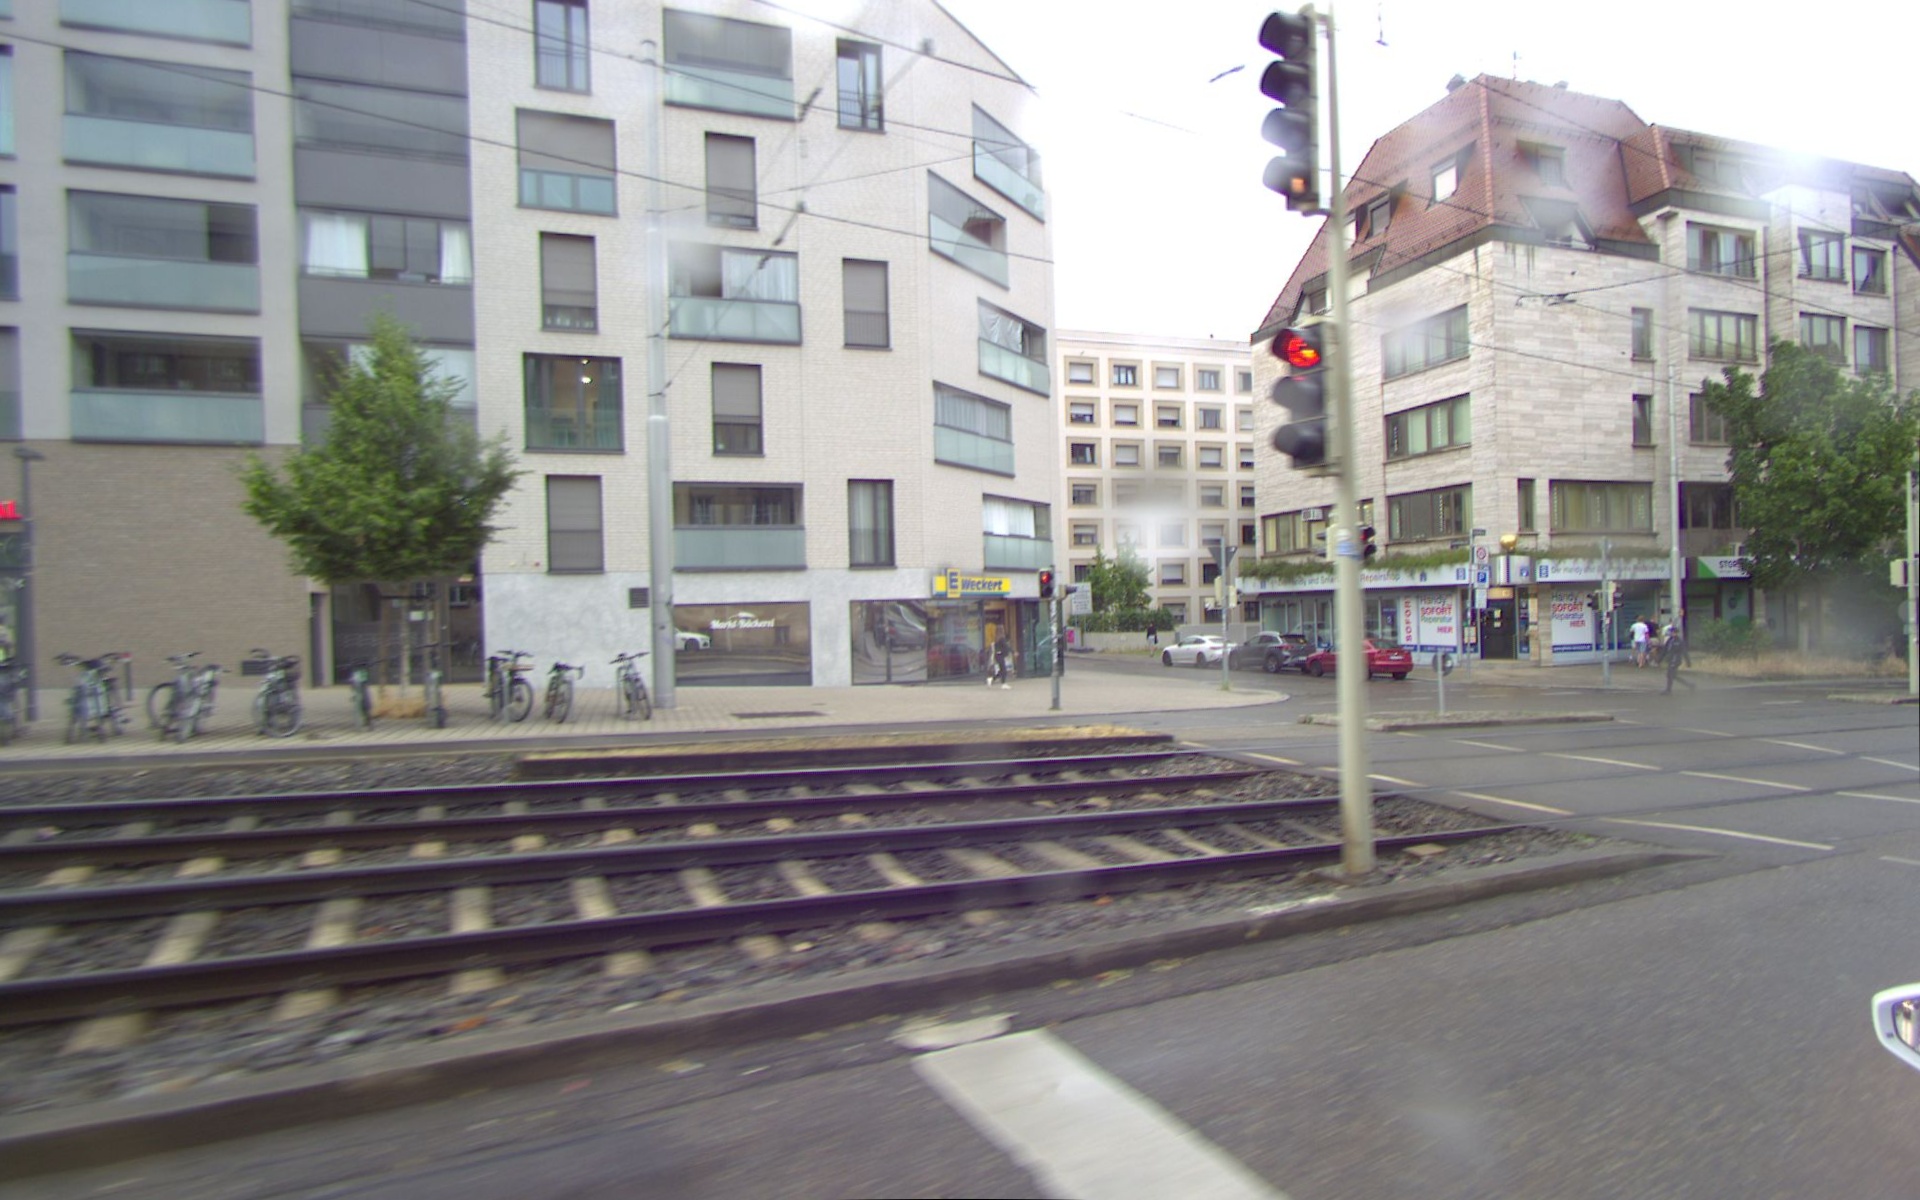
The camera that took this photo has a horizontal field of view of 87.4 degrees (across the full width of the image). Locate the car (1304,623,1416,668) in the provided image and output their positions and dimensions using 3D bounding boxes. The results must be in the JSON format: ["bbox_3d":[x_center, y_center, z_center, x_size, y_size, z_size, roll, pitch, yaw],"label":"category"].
[{"bbox_3d":[13.891,1.554,35.093,1.569,1.335,3.689,3,0,-19],"label":"car"}]

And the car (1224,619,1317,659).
[{"bbox_3d":[12.216,1.515,39.743,1.569,1.335,3.689,3,0,-19],"label":"car"}]

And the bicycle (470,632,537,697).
[{"bbox_3d":[-7.648,1.055,16.783,1.765,0.930,0.385,3,1,44],"label":"bicycle"}]

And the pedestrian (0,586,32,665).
[{"bbox_3d":[-18.608,0.482,19.409,0.790,1.468,0.539,3,2,-17],"label":"pedestrian"}]

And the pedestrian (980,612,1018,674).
[{"bbox_3d":[1.031,1.121,26.605,0.637,1.590,0.775,2,1,33],"label":"pedestrian"}]

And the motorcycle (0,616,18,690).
[{"bbox_3d":[-14.039,0.759,14.287,0.537,1.056,1.749,4,-2,-32],"label":"motorcycle"}]

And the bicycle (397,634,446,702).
[{"bbox_3d":[-8.381,1.037,15.601,0.384,0.930,1.770,2,0,-37],"label":"bicycle"}]

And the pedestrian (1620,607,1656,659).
[{"bbox_3d":[23.691,1.159,35.103,0.674,1.747,0.646,3,2,-21],"label":"pedestrian"}]

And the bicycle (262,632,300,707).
[{"bbox_3d":[-9.706,0.966,14.386,0.383,0.930,1.773,2,0,-33],"label":"bicycle"}]

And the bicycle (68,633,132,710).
[{"bbox_3d":[-11.471,0.932,13.425,0.383,0.930,1.773,2,-2,-33],"label":"bicycle"}]

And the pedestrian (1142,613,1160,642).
[{"bbox_3d":[10.527,1.508,55.295,0.640,1.569,0.680,3,2,-21],"label":"pedestrian"}]

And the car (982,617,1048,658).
[{"bbox_3d":[2.662,1.811,49.275,1.968,1.617,3.985,3,2,-16],"label":"car"}]

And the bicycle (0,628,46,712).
[{"bbox_3d":[-12.287,0.878,12.984,0.383,0.930,1.773,2,0,-33],"label":"bicycle"}]

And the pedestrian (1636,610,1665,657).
[{"bbox_3d":[24.371,1.171,35.441,0.577,1.619,0.503,3,2,-21],"label":"pedestrian"}]

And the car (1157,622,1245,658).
[{"bbox_3d":[10.551,1.728,44.337,1.569,1.335,4.482,3,0,-19],"label":"car"}]

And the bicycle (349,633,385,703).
[{"bbox_3d":[-8.988,0.999,15.206,0.383,0.930,1.773,2,0,-33],"label":"bicycle"}]

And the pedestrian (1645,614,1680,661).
[{"bbox_3d":[24.096,1.284,34.459,0.674,1.569,0.646,3,2,-21],"label":"pedestrian"}]

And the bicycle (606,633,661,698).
[{"bbox_3d":[-5.665,1.112,17.357,0.436,0.993,1.773,2,0,-33],"label":"bicycle"}]

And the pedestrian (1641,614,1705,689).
[{"bbox_3d":[18.666,1.340,26.317,0.947,1.854,0.927,3,2,-27],"label":"pedestrian"}]

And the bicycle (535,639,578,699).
[{"bbox_3d":[-6.748,1.128,16.773,0.383,0.888,1.774,2,-1,-31],"label":"bicycle"}]

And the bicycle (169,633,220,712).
[{"bbox_3d":[-10.360,0.956,13.620,0.383,0.930,1.773,2,0,-33],"label":"bicycle"}]

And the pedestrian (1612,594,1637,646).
[{"bbox_3d":[24.569,0.722,37.126,0.638,1.867,0.682,4,2,33],"label":"pedestrian"}]

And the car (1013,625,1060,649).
[{"bbox_3d":[4.752,2.295,62.773,1.569,1.335,3.689,3,0,-19],"label":"car"}]
